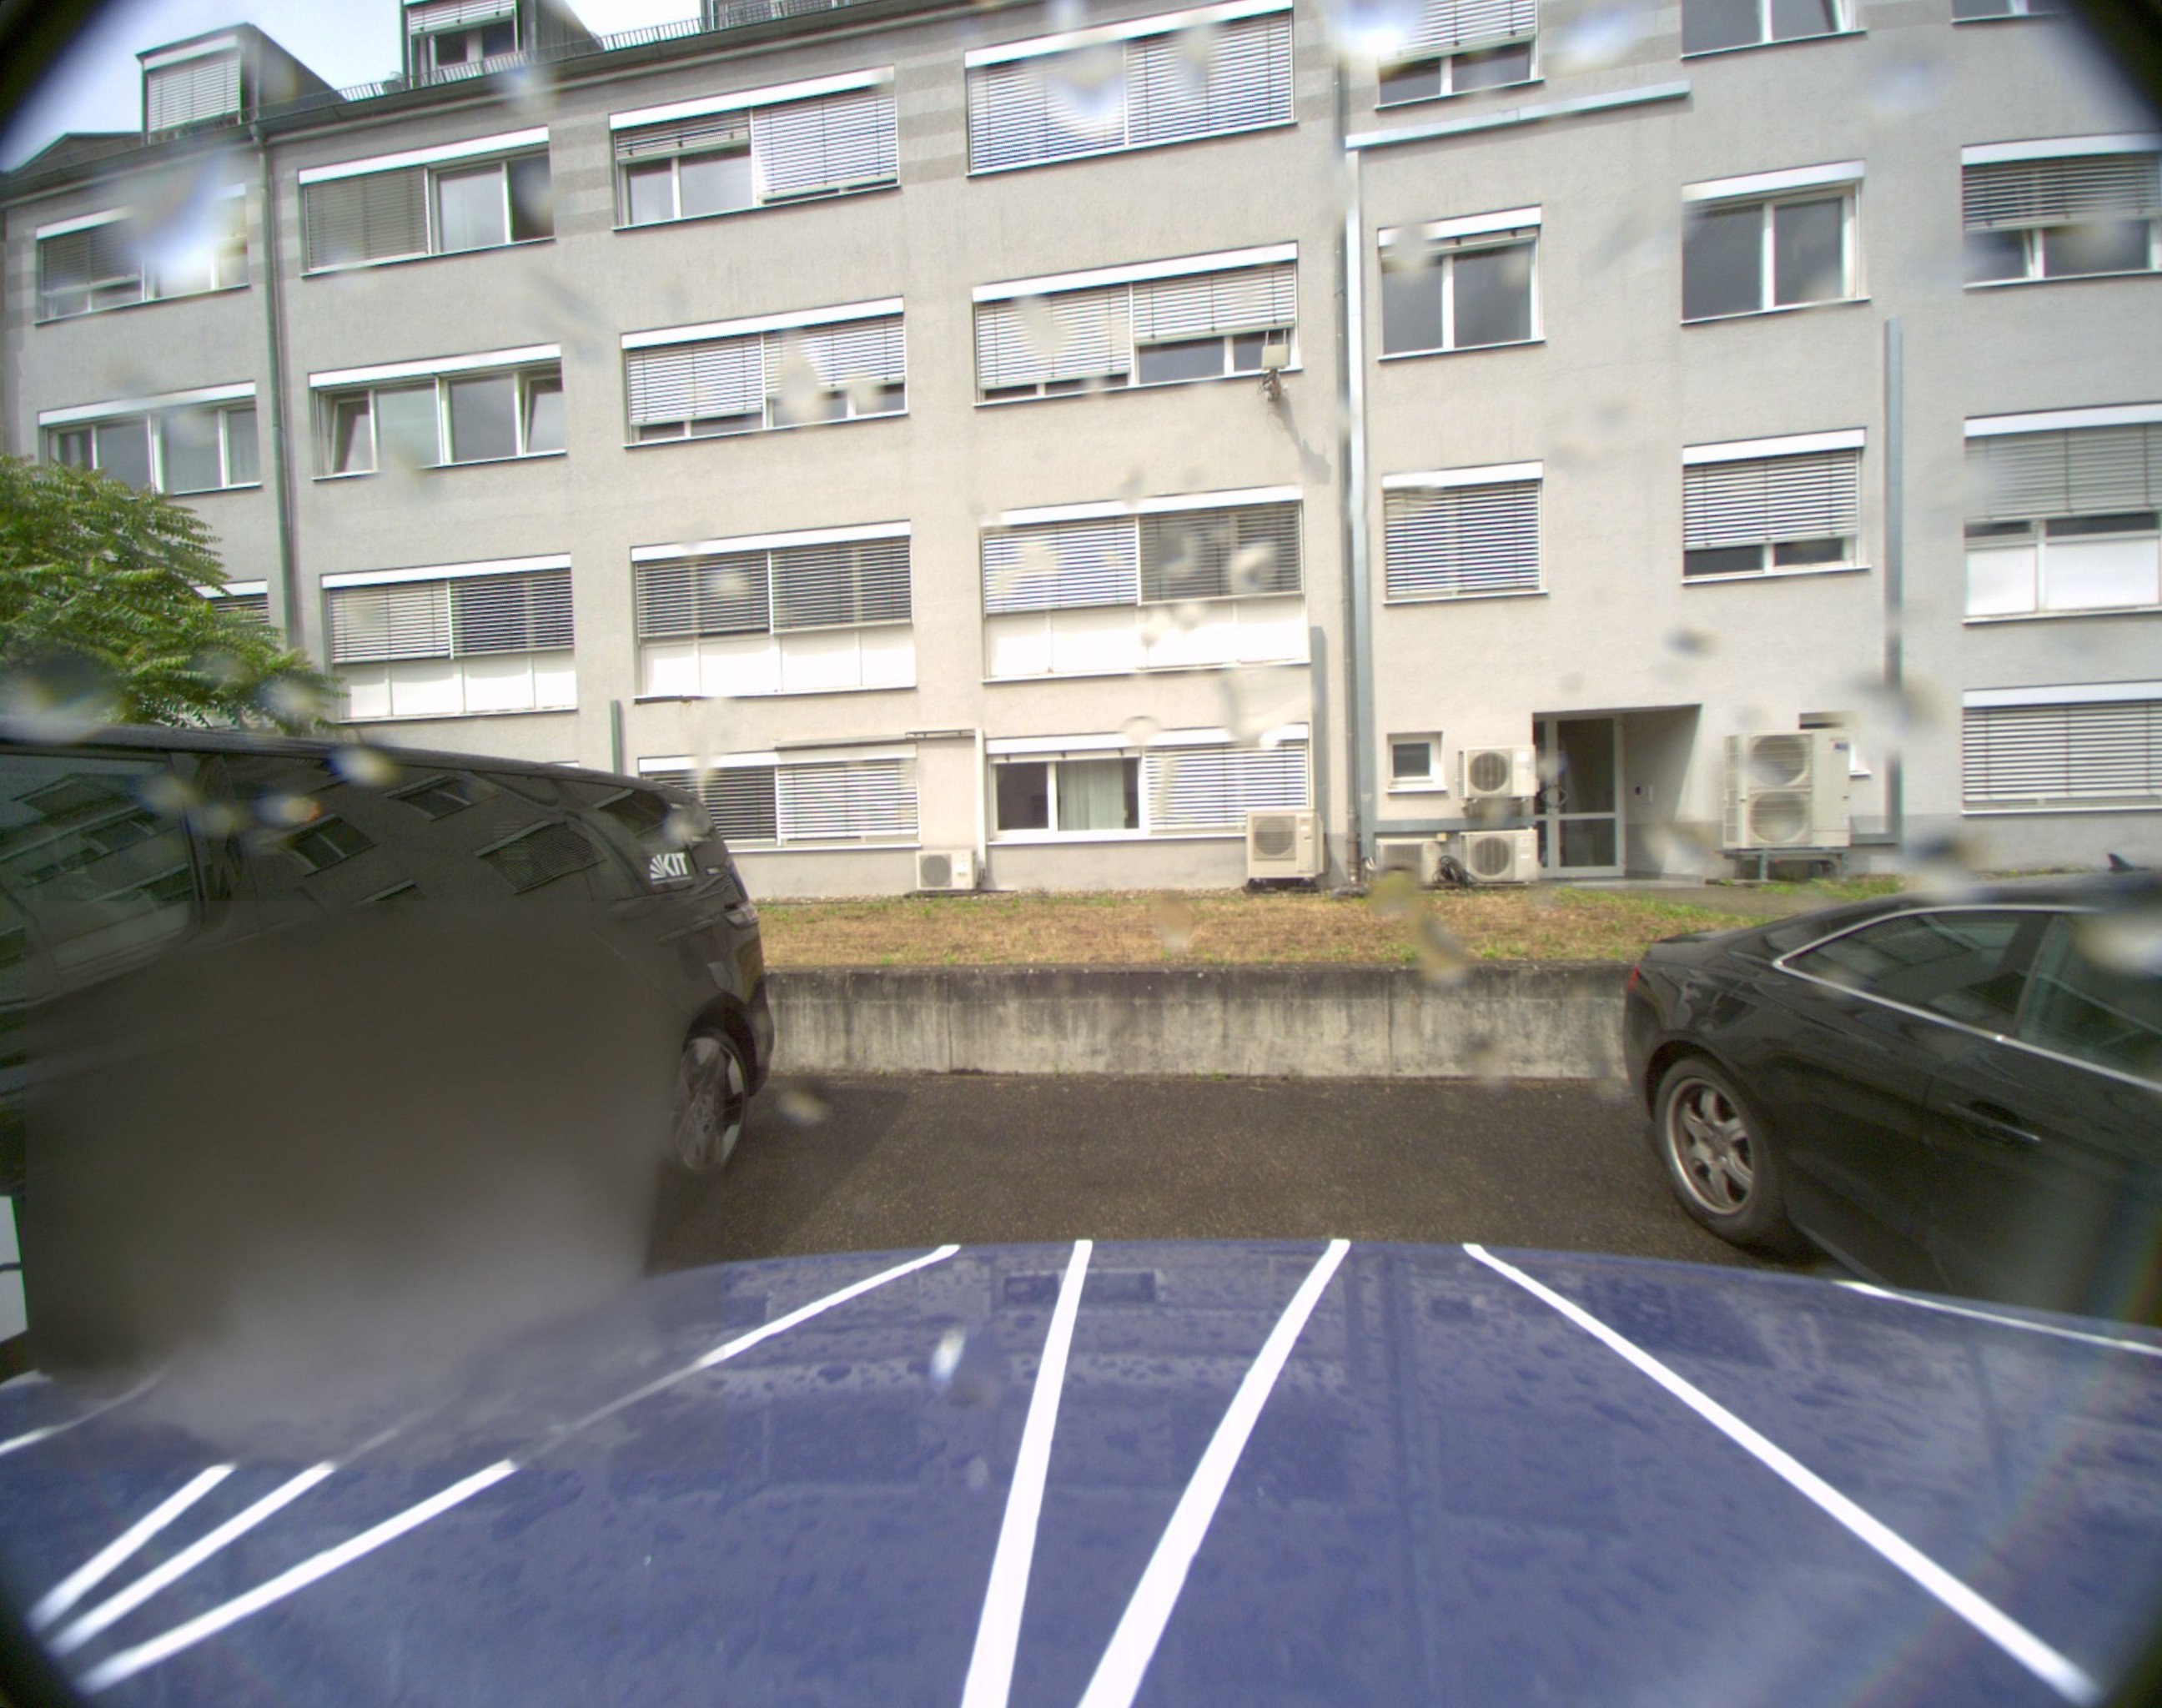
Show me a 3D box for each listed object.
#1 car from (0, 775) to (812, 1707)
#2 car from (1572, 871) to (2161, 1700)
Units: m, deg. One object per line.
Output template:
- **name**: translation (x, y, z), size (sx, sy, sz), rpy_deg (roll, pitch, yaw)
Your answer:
- **car**: translation (-2.793, 0.805, 1.898), size (1.968, 1.854, 4.749), rpy_deg (-2, 2, 7)
- **car**: translation (2.843, 0.870, 1.202), size (1.760, 1.344, 4.530), rpy_deg (-2, 2, 9)
